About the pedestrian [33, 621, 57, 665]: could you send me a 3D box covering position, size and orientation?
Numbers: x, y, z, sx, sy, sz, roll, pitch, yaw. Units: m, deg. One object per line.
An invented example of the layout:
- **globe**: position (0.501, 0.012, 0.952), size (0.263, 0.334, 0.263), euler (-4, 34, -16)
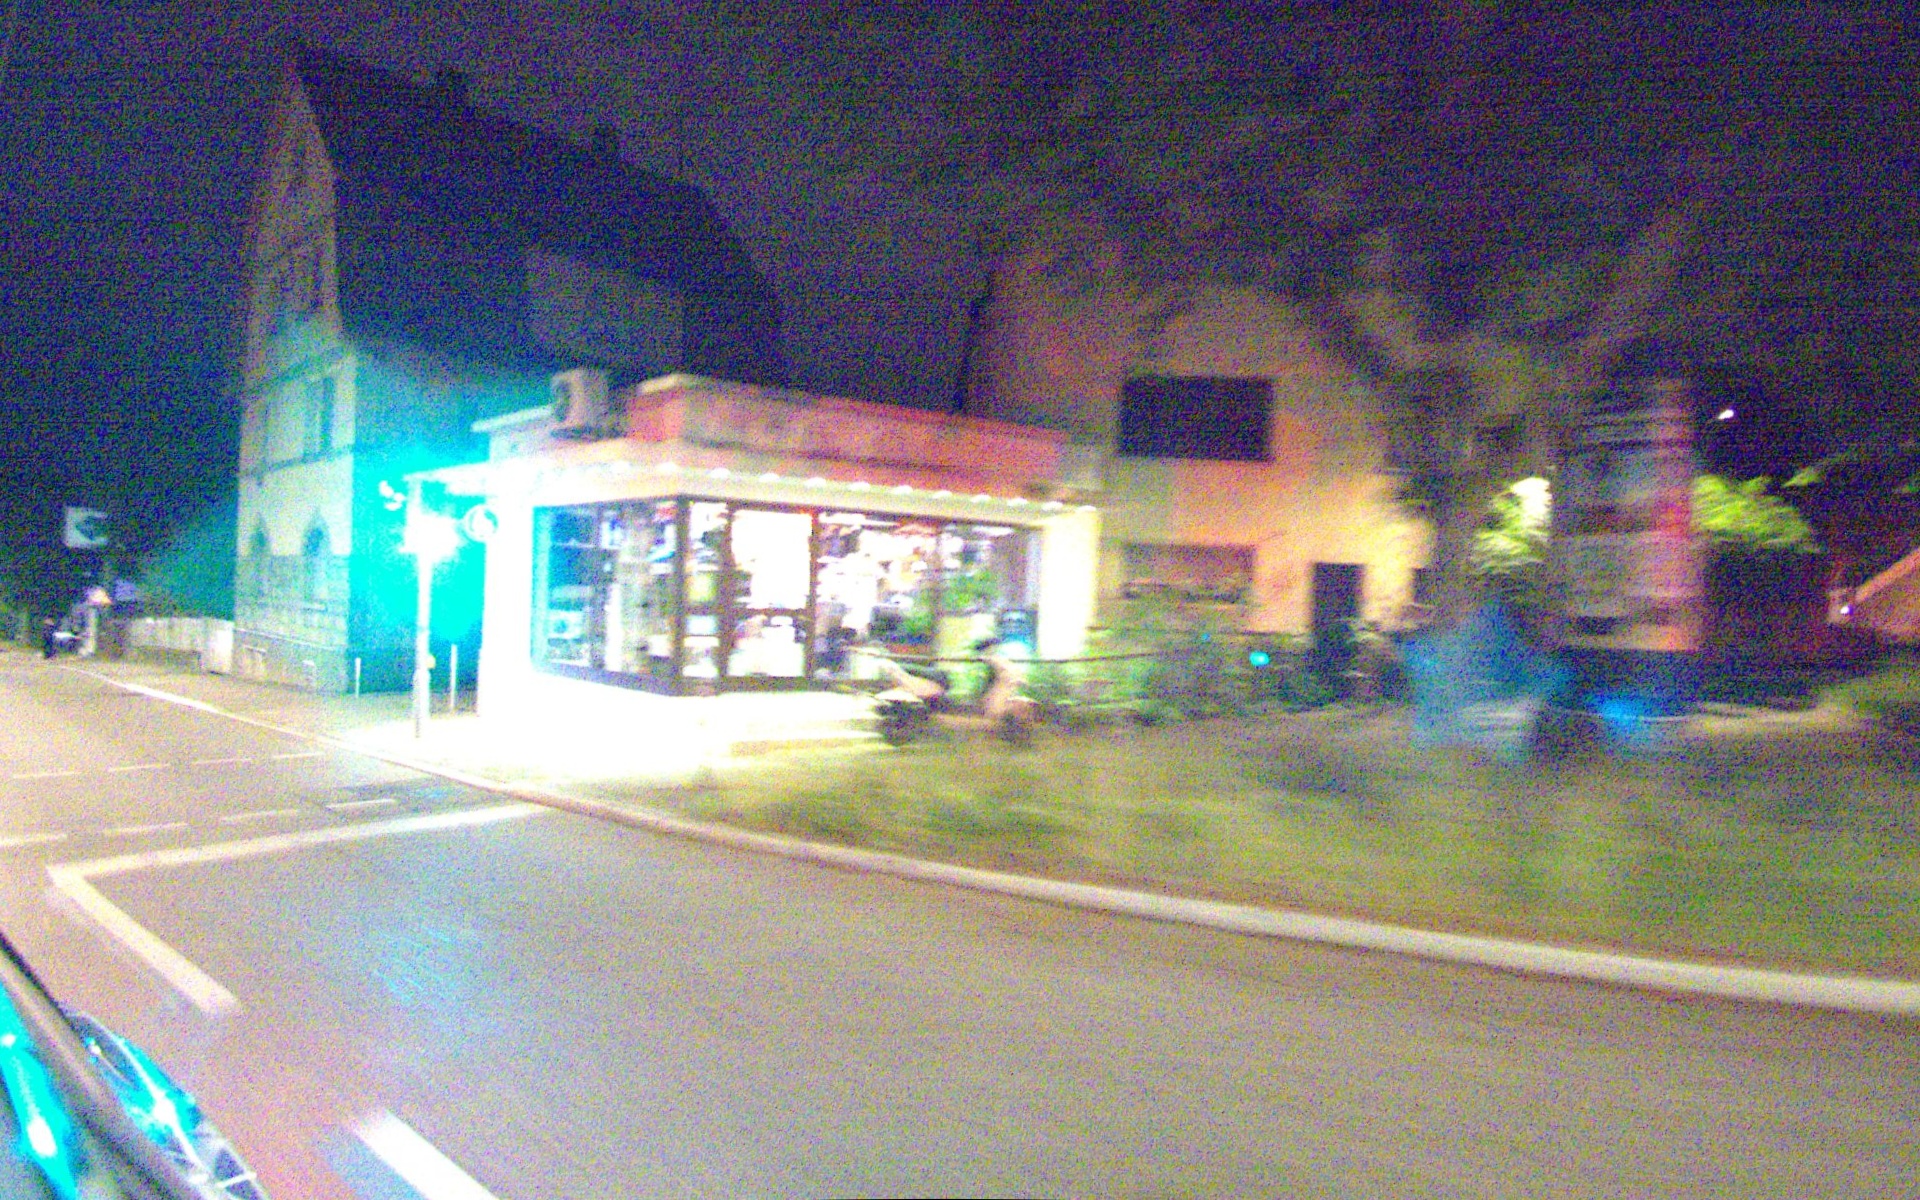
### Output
- **pedestrian**: position (-34.663, 1.612, 38.325), size (0.640, 1.654, 0.748), euler (0, -1, -44)

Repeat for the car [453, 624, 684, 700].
- **car**: position (-7.784, 1.195, 20.372), size (1.802, 1.374, 3.944), euler (-2, -3, 42)

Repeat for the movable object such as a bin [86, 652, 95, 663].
- **movable object such as a bin**: position (-34.153, 2.254, 39.760), size (0.228, 0.410, 0.467), euler (0, -1, -44)

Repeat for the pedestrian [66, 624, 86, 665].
- **pedestrian**: position (-34.504, 1.732, 39.496), size (0.590, 1.542, 0.553), euler (-2, -1, 44)

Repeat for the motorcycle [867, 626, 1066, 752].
- **motorcycle**: position (0.053, 0.914, 10.647), size (2.011, 1.238, 0.618), euler (-1, -1, -1)

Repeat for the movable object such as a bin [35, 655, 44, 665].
- **movable object such as a bin**: position (-35.635, 2.315, 39.167), size (0.228, 0.354, 0.467), euler (0, -1, -44)
